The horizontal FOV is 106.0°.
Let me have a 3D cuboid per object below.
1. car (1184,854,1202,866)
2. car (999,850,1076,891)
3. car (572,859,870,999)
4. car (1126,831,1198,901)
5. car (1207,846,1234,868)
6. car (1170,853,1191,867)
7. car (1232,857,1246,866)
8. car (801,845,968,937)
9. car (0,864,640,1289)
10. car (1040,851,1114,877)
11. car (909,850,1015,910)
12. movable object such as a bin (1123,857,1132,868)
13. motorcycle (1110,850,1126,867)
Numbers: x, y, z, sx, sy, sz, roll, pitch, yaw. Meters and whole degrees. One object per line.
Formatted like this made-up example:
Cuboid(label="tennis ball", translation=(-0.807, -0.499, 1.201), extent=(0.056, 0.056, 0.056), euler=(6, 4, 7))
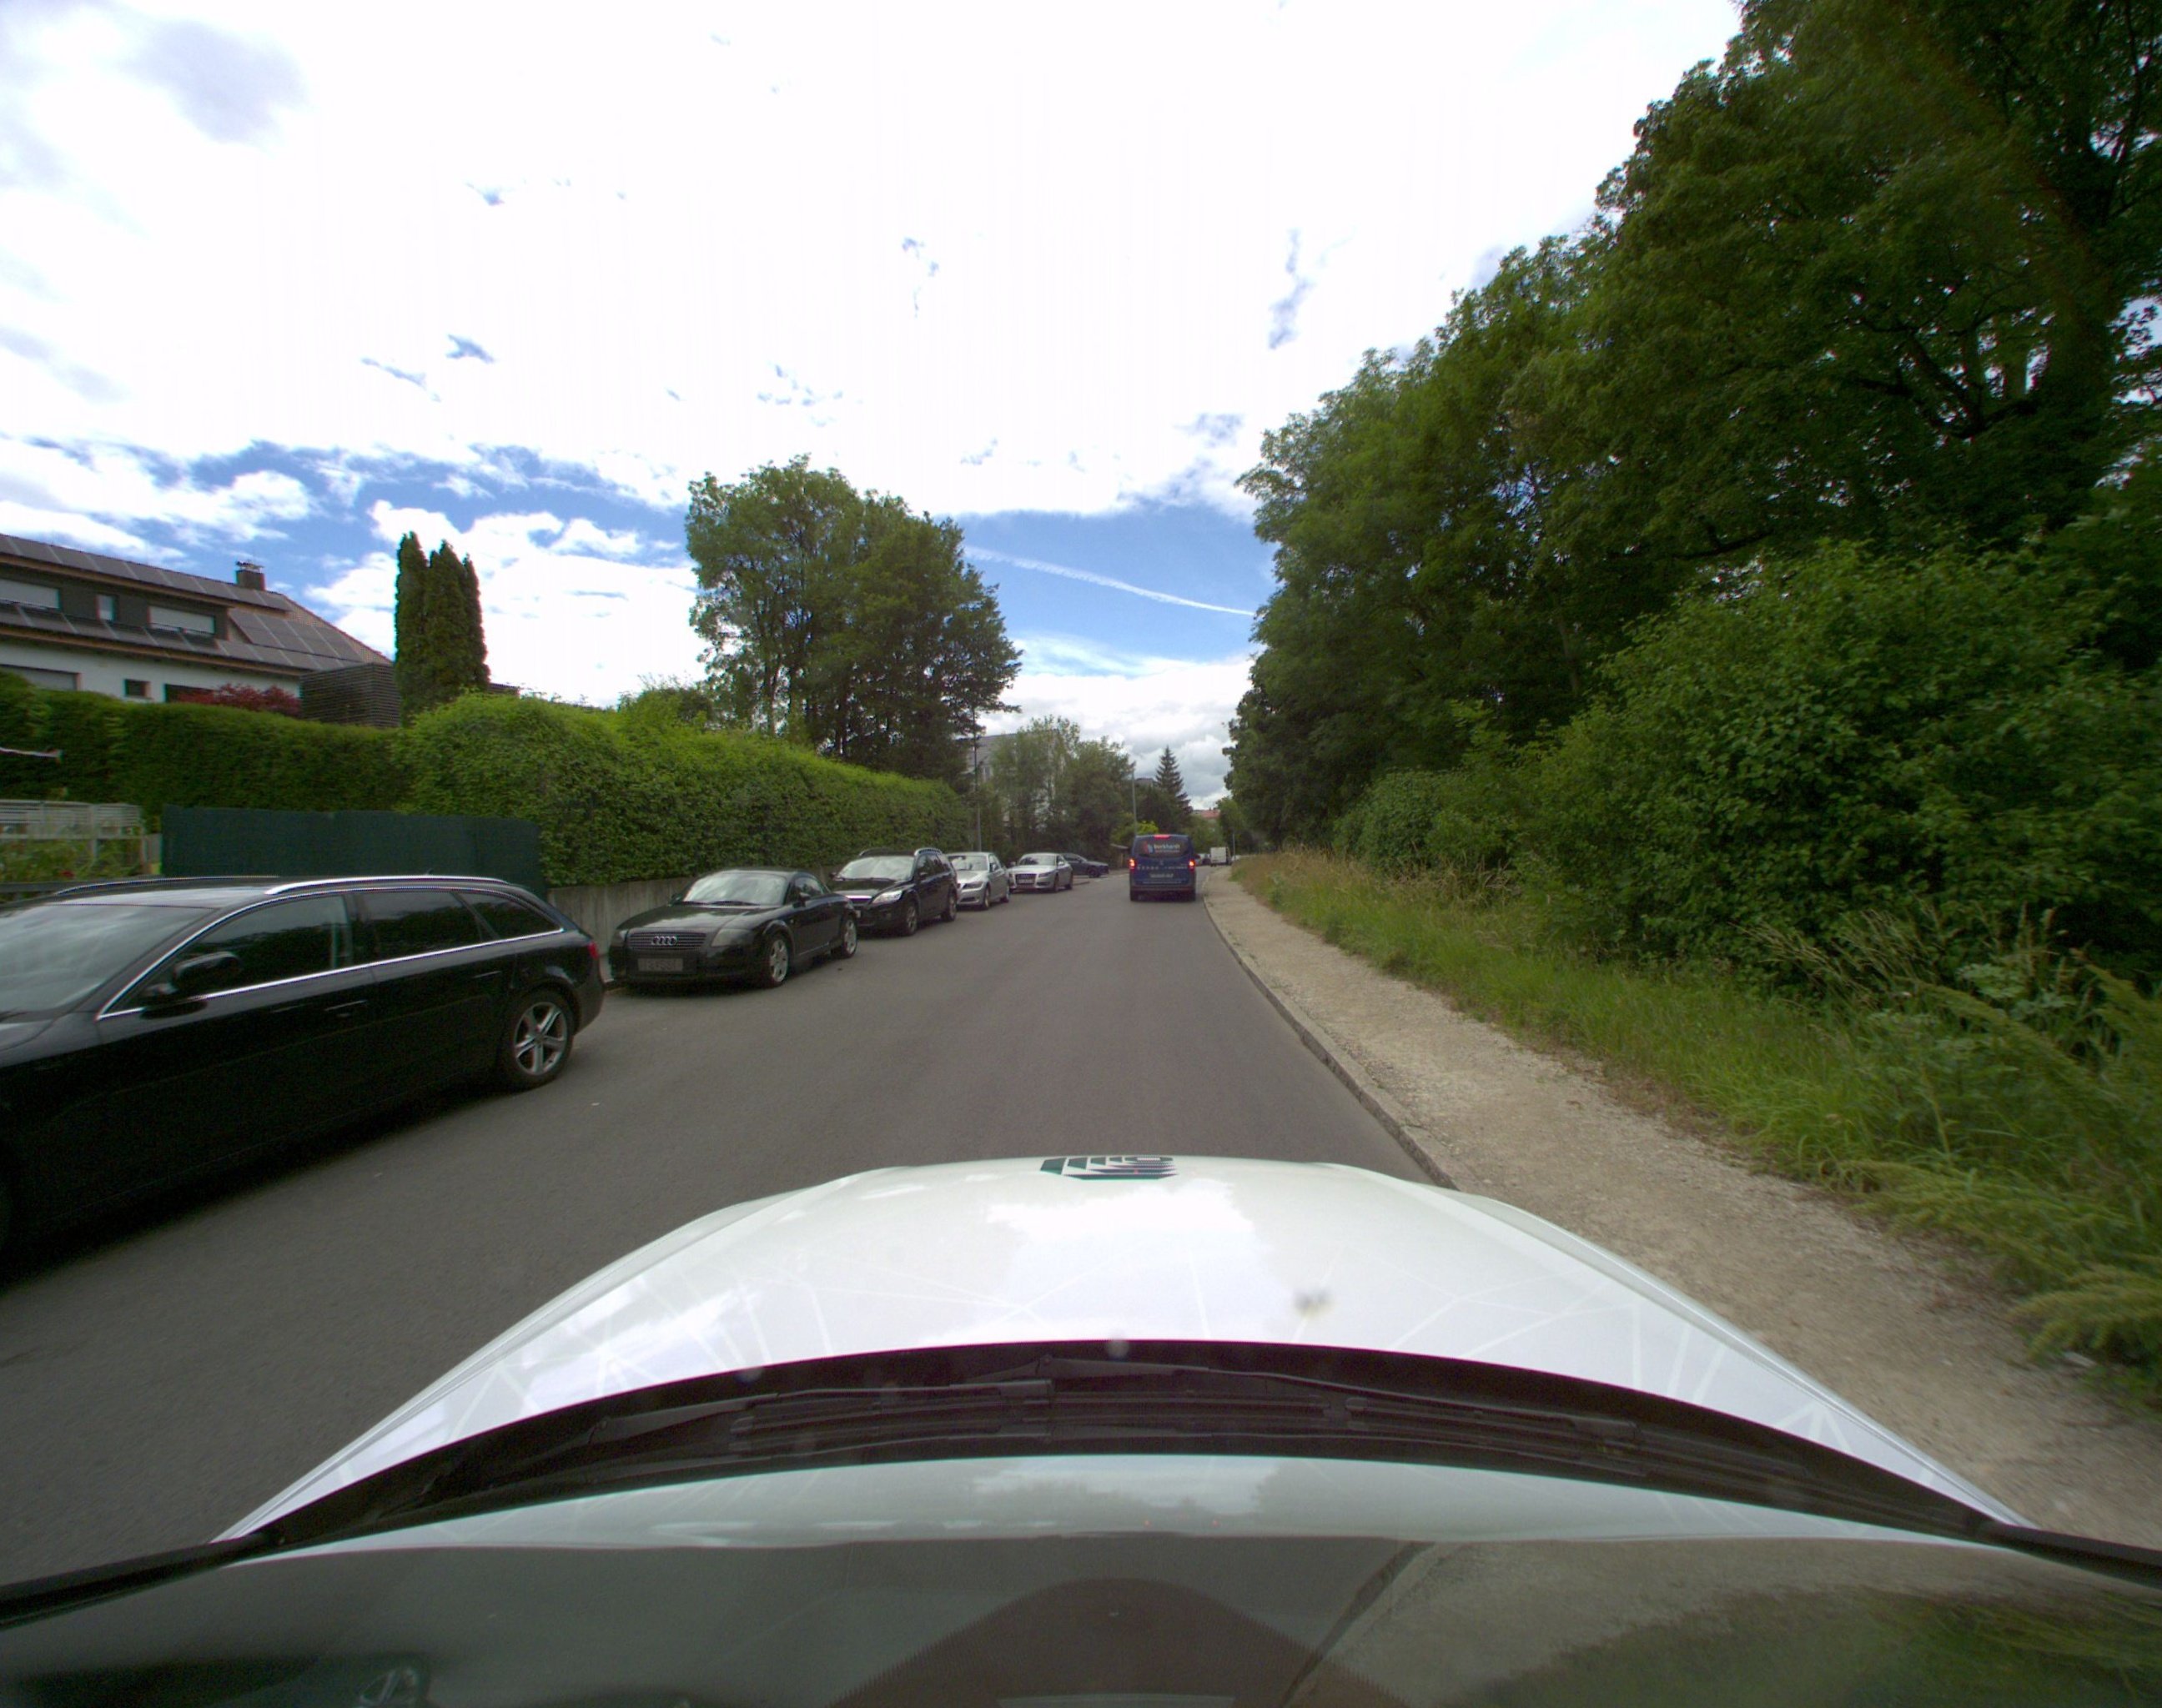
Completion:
Cuboid(label="car", translation=(13.334, 0.722, 96.946), extent=(1.737, 1.404, 4.014), euler=(-1, 0, 13))
Cuboid(label="car", translation=(-1.466, 0.541, 29.359), extent=(1.820, 1.374, 4.457), euler=(0, 0, 9))
Cuboid(label="car", translation=(-4.127, 0.757, 10.163), extent=(1.704, 1.341, 4.111), euler=(0, 0, 3))
Cuboid(label="car", translation=(2.508, 0.315, 24.465), extent=(1.926, 1.880, 4.540), euler=(-1, 0, 7))
Cuboid(label="car", translation=(14.515, 0.286, 84.647), extent=(2.190, 2.063, 6.158), euler=(-1, 0, 14))
Cuboid(label="car", translation=(10.656, 0.644, 86.857), extent=(1.623, 1.404, 4.017), euler=(-1, 0, 16))
Cuboid(label="car", translation=(25.849, 1.233, 133.088), extent=(1.735, 1.404, 4.019), euler=(-1, 0, 18))
Cuboid(label="car", translation=(-3.591, 0.604, 15.784), extent=(1.648, 1.533, 4.483), euler=(0, 0, 7))
Cuboid(label="car", translation=(-4.465, 0.798, 4.062), extent=(1.710, 1.385, 4.668), euler=(-1, 0, 4))
Cuboid(label="car", translation=(-0.189, 0.580, 47.491), extent=(4.146, 1.447, 1.743), euler=(-1, -1, 6))
Cuboid(label="car", translation=(-2.966, 0.603, 21.251), extent=(1.766, 1.374, 4.347), euler=(0, 0, 5))
Cuboid(label="movable object such as a bin", translation=(4.170, 0.756, 72.542), extent=(0.586, 0.909, 0.704), euler=(-1, -1, 19))
Cuboid(label="motorcycle", translation=(3.195, 0.389, 70.593), extent=(0.804, 1.485, 2.907), euler=(-1, 0, 14))
